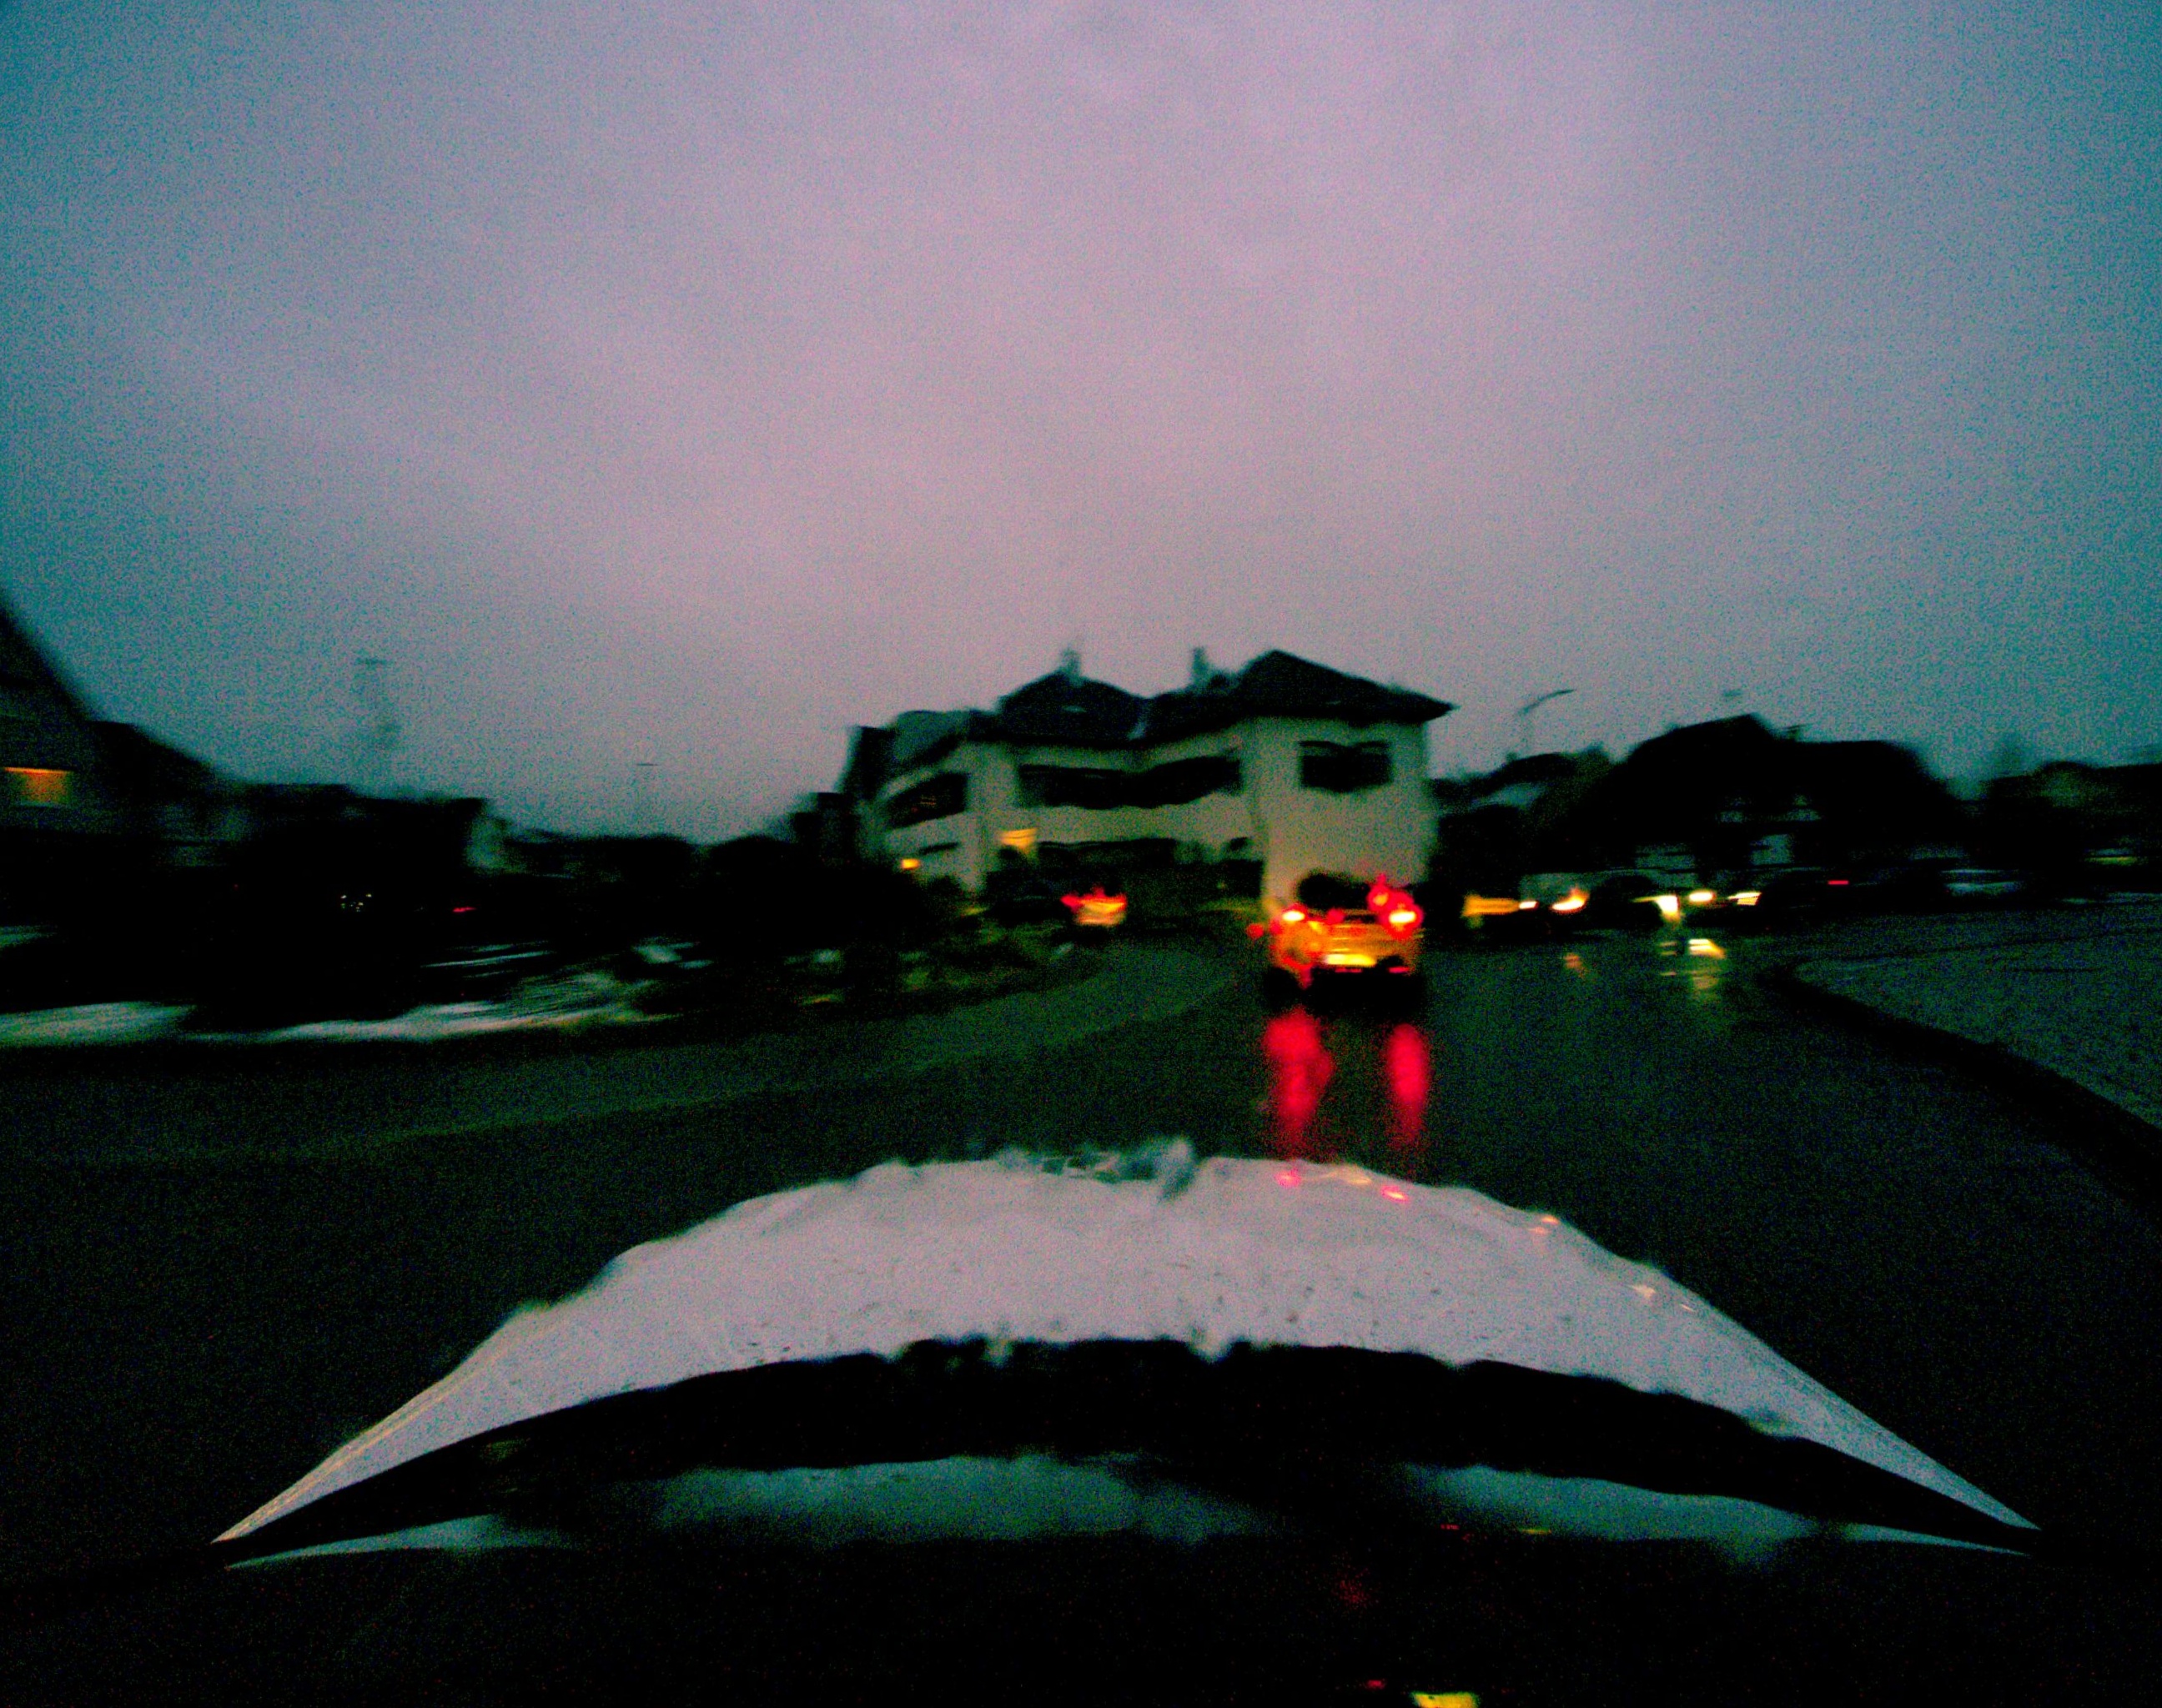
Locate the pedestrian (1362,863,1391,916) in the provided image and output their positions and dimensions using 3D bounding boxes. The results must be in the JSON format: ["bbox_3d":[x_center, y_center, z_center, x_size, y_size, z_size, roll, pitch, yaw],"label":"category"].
[{"bbox_3d":[10.349,1.241,28.531,0.713,1.832,0.637,-1,0,-3],"label":"pedestrian"}]

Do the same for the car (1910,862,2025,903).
[{"bbox_3d":[35.816,1.131,32.907,3.713,1.550,1.663,-1,-2,-17],"label":"car"}]

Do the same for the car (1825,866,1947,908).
[{"bbox_3d":[30.826,1.245,31.207,3.705,1.466,1.718,-1,-2,-17],"label":"car"}]

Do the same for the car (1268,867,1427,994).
[{"bbox_3d":[3.495,0.931,11.237,1.698,1.422,4.027,-1,-2,14],"label":"car"}]

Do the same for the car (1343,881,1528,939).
[{"bbox_3d":[9.500,1.500,21.967,4.221,1.384,1.844,-1,-4,-10],"label":"car"}]

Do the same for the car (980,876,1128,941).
[{"bbox_3d":[-0.816,1.447,22.684,3.900,1.615,1.933,-2,-2,43],"label":"car"}]

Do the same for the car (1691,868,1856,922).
[{"bbox_3d":[21.169,1.235,24.929,4.251,1.508,1.688,-1,-3,-15],"label":"car"}]

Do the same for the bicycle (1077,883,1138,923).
[{"bbox_3d":[0.890,1.633,27.248,1.919,1.295,0.554,-2,0,22],"label":"bicycle"}]

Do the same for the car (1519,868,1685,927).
[{"bbox_3d":[14.824,1.214,23.228,3.992,1.552,1.688,0,-3,-14],"label":"car"}]

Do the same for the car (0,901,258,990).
[{"bbox_3d":[-20.882,1.927,17.670,3.903,1.637,1.639,-1,-2,-20],"label":"car"}]

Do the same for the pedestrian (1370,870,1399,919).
[{"bbox_3d":[10.334,1.375,27.739,0.713,1.621,0.582,-1,-2,-3],"label":"pedestrian"}]

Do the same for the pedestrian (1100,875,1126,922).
[{"bbox_3d":[1.074,1.500,27.604,0.683,1.564,0.613,-2,-1,22],"label":"pedestrian"}]
